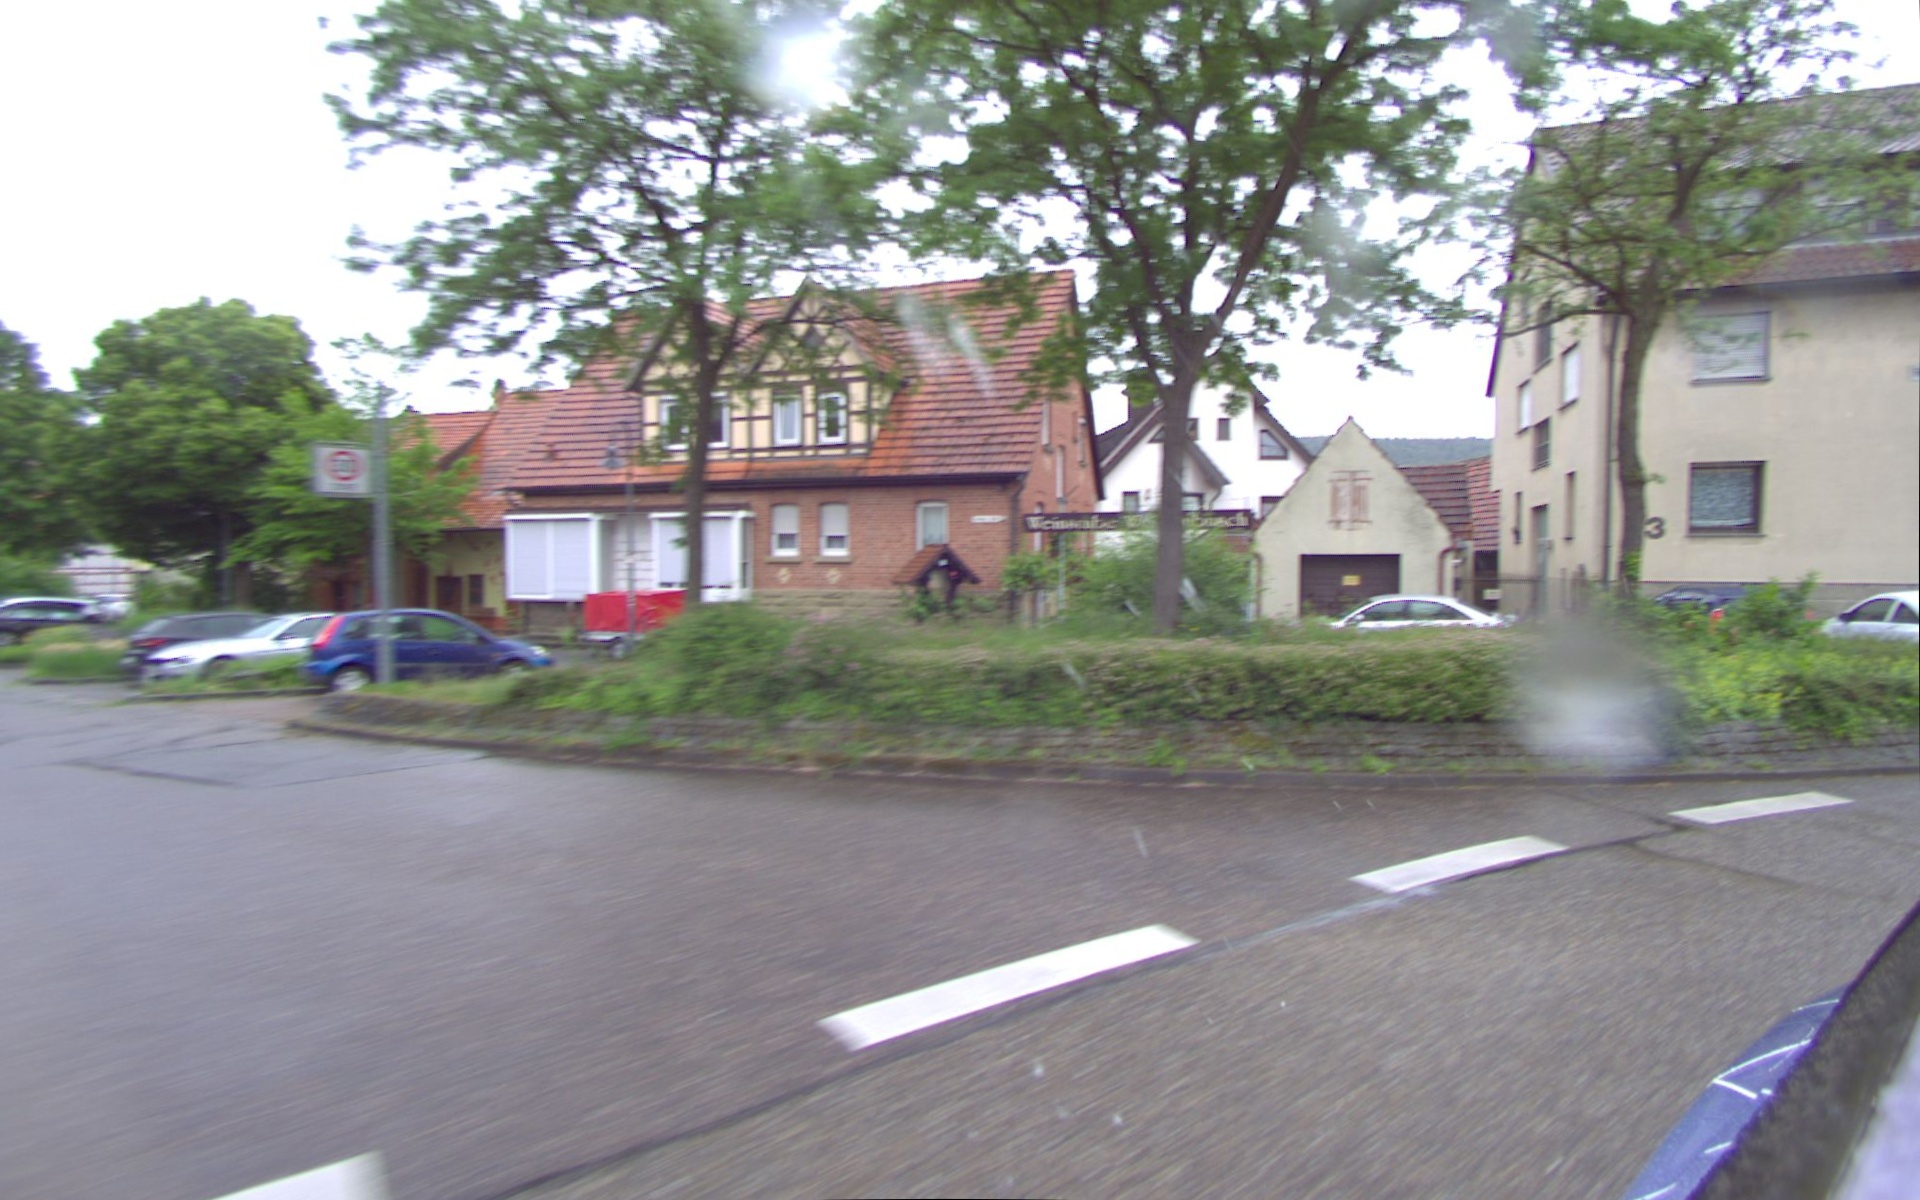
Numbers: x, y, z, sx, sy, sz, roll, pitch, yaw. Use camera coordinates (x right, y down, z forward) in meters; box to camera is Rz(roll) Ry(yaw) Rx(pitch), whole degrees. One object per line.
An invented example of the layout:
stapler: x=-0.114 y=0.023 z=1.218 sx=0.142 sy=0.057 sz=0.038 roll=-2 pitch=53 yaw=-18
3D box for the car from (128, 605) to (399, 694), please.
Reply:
car: x=-13.101 y=0.844 z=19.267 sx=1.611 sy=1.407 sz=3.955 roll=0 pitch=1 yaw=32

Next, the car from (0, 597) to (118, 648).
car: x=-30.086 y=0.700 z=32.880 sx=1.990 sy=1.571 sz=3.943 roll=0 pitch=0 yaw=39

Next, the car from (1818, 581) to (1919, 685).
car: x=15.509 y=0.478 z=15.968 sx=1.694 sy=1.548 sz=3.415 roll=0 pitch=1 yaw=16

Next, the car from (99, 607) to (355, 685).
car: x=-15.150 y=0.877 z=21.113 sx=1.867 sy=1.393 sz=3.952 roll=0 pitch=0 yaw=34

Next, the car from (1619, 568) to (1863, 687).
car: x=12.838 y=0.358 z=16.967 sx=1.722 sy=1.601 sz=3.987 roll=-2 pitch=3 yaw=13

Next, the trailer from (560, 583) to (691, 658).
trailer: x=-7.819 y=0.458 z=23.667 sx=2.696 sy=1.670 sz=1.400 roll=0 pitch=0 yaw=25

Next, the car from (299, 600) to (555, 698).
car: x=-8.994 y=0.746 z=17.173 sx=3.663 sy=1.407 sz=1.624 roll=-1 pitch=1 yaw=-35

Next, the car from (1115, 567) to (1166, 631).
car: x=6.163 y=-0.061 z=34.774 sx=1.573 sy=2.039 sz=3.991 roll=-1 pitch=1 yaw=8

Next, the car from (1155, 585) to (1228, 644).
car: x=6.444 y=0.364 z=27.956 sx=1.581 sy=1.515 sz=3.976 roll=0 pitch=0 yaw=19

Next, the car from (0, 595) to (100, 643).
car: x=-32.215 y=0.620 z=34.302 sx=1.990 sy=1.571 sz=4.420 roll=0 pitch=0 yaw=39

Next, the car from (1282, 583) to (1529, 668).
car: x=8.489 y=0.441 z=19.674 sx=4.212 sy=1.456 sz=1.896 roll=0 pitch=2 yaw=20
